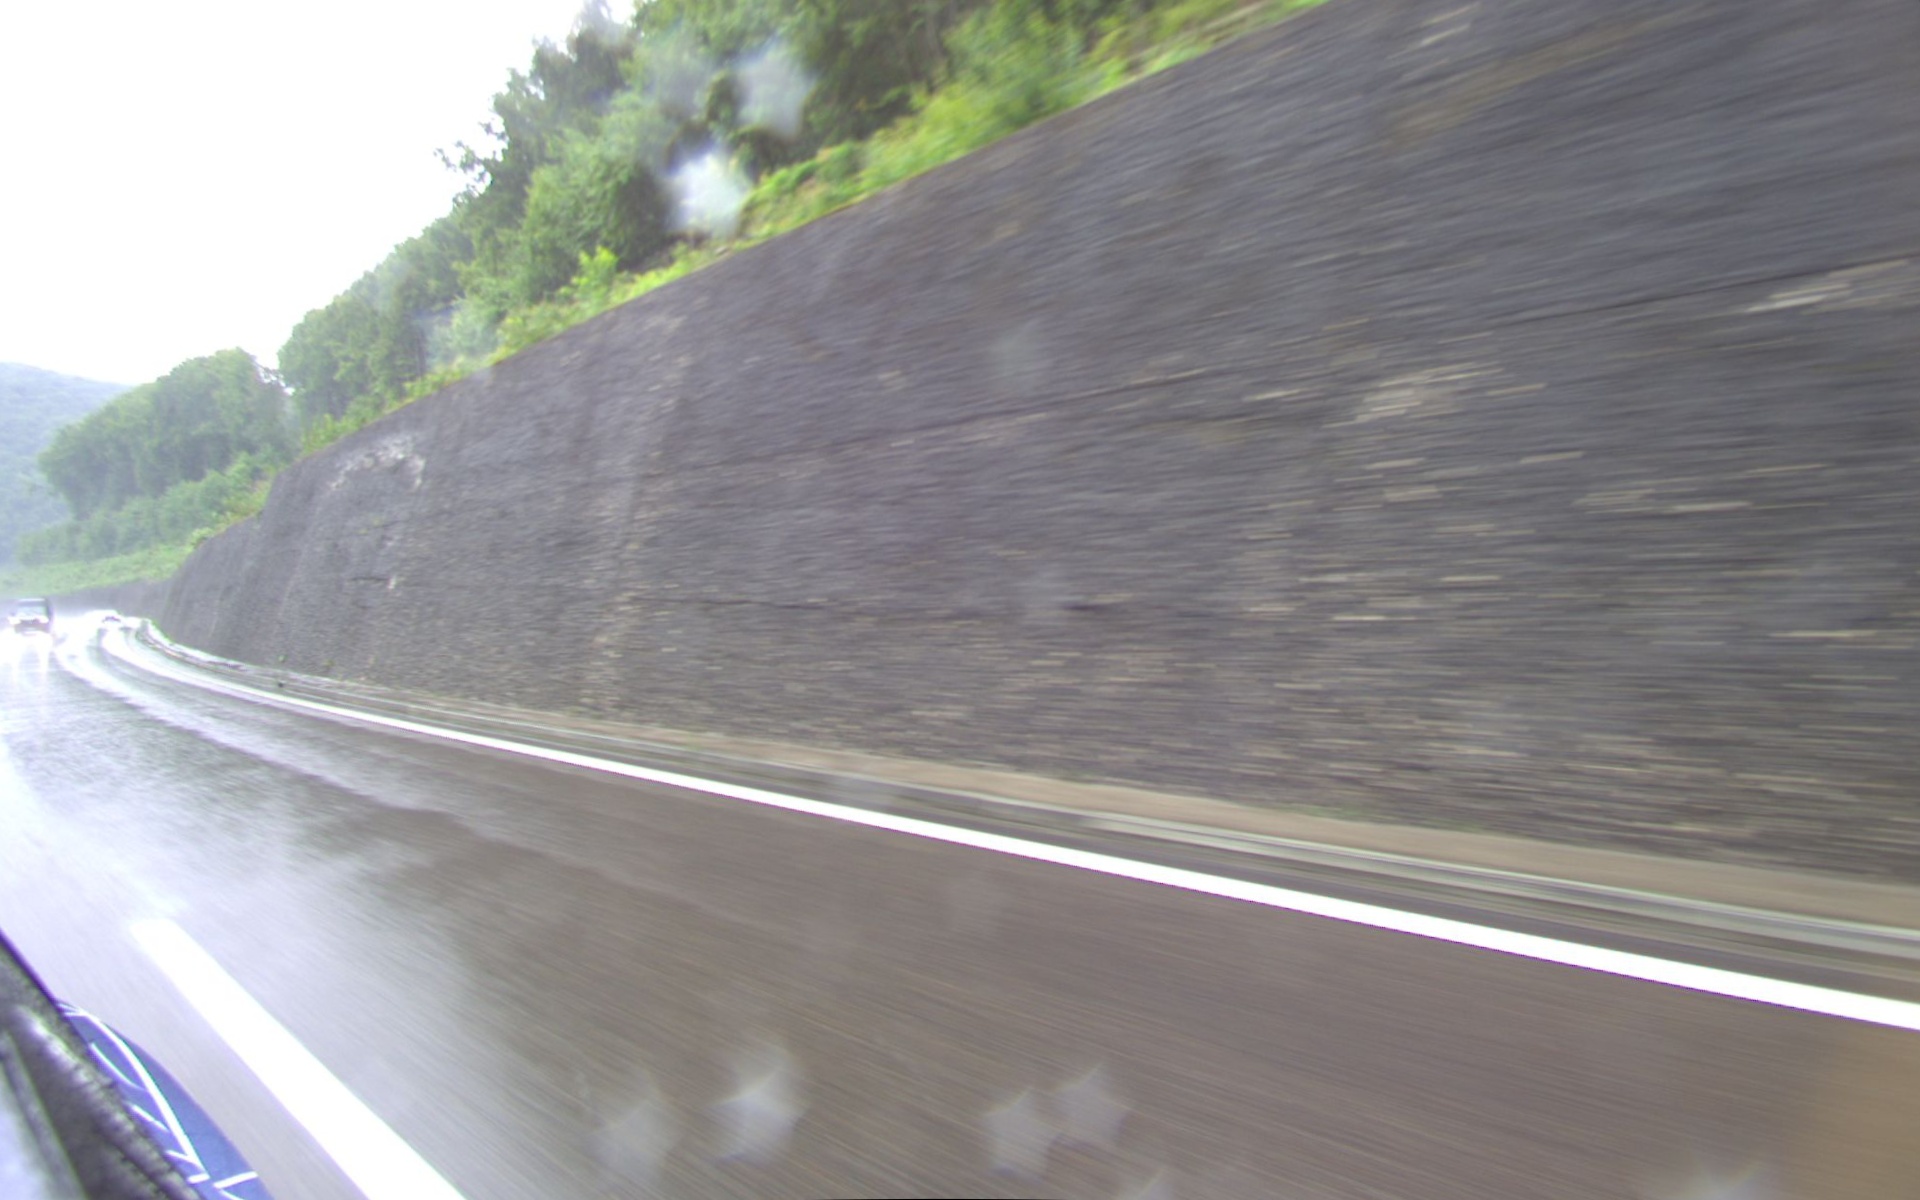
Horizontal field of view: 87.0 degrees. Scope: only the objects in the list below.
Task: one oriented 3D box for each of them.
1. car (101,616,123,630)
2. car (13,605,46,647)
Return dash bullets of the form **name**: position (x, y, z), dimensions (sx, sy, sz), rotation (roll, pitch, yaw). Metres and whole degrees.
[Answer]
- **car**: position (-101.816, 2.754, 121.603), dimensions (1.710, 1.678, 3.875), rotation (-1, 0, -36)
- **car**: position (-69.135, 1.914, 75.213), dimensions (1.717, 3.048, 4.004), rotation (-1, 0, -43)
